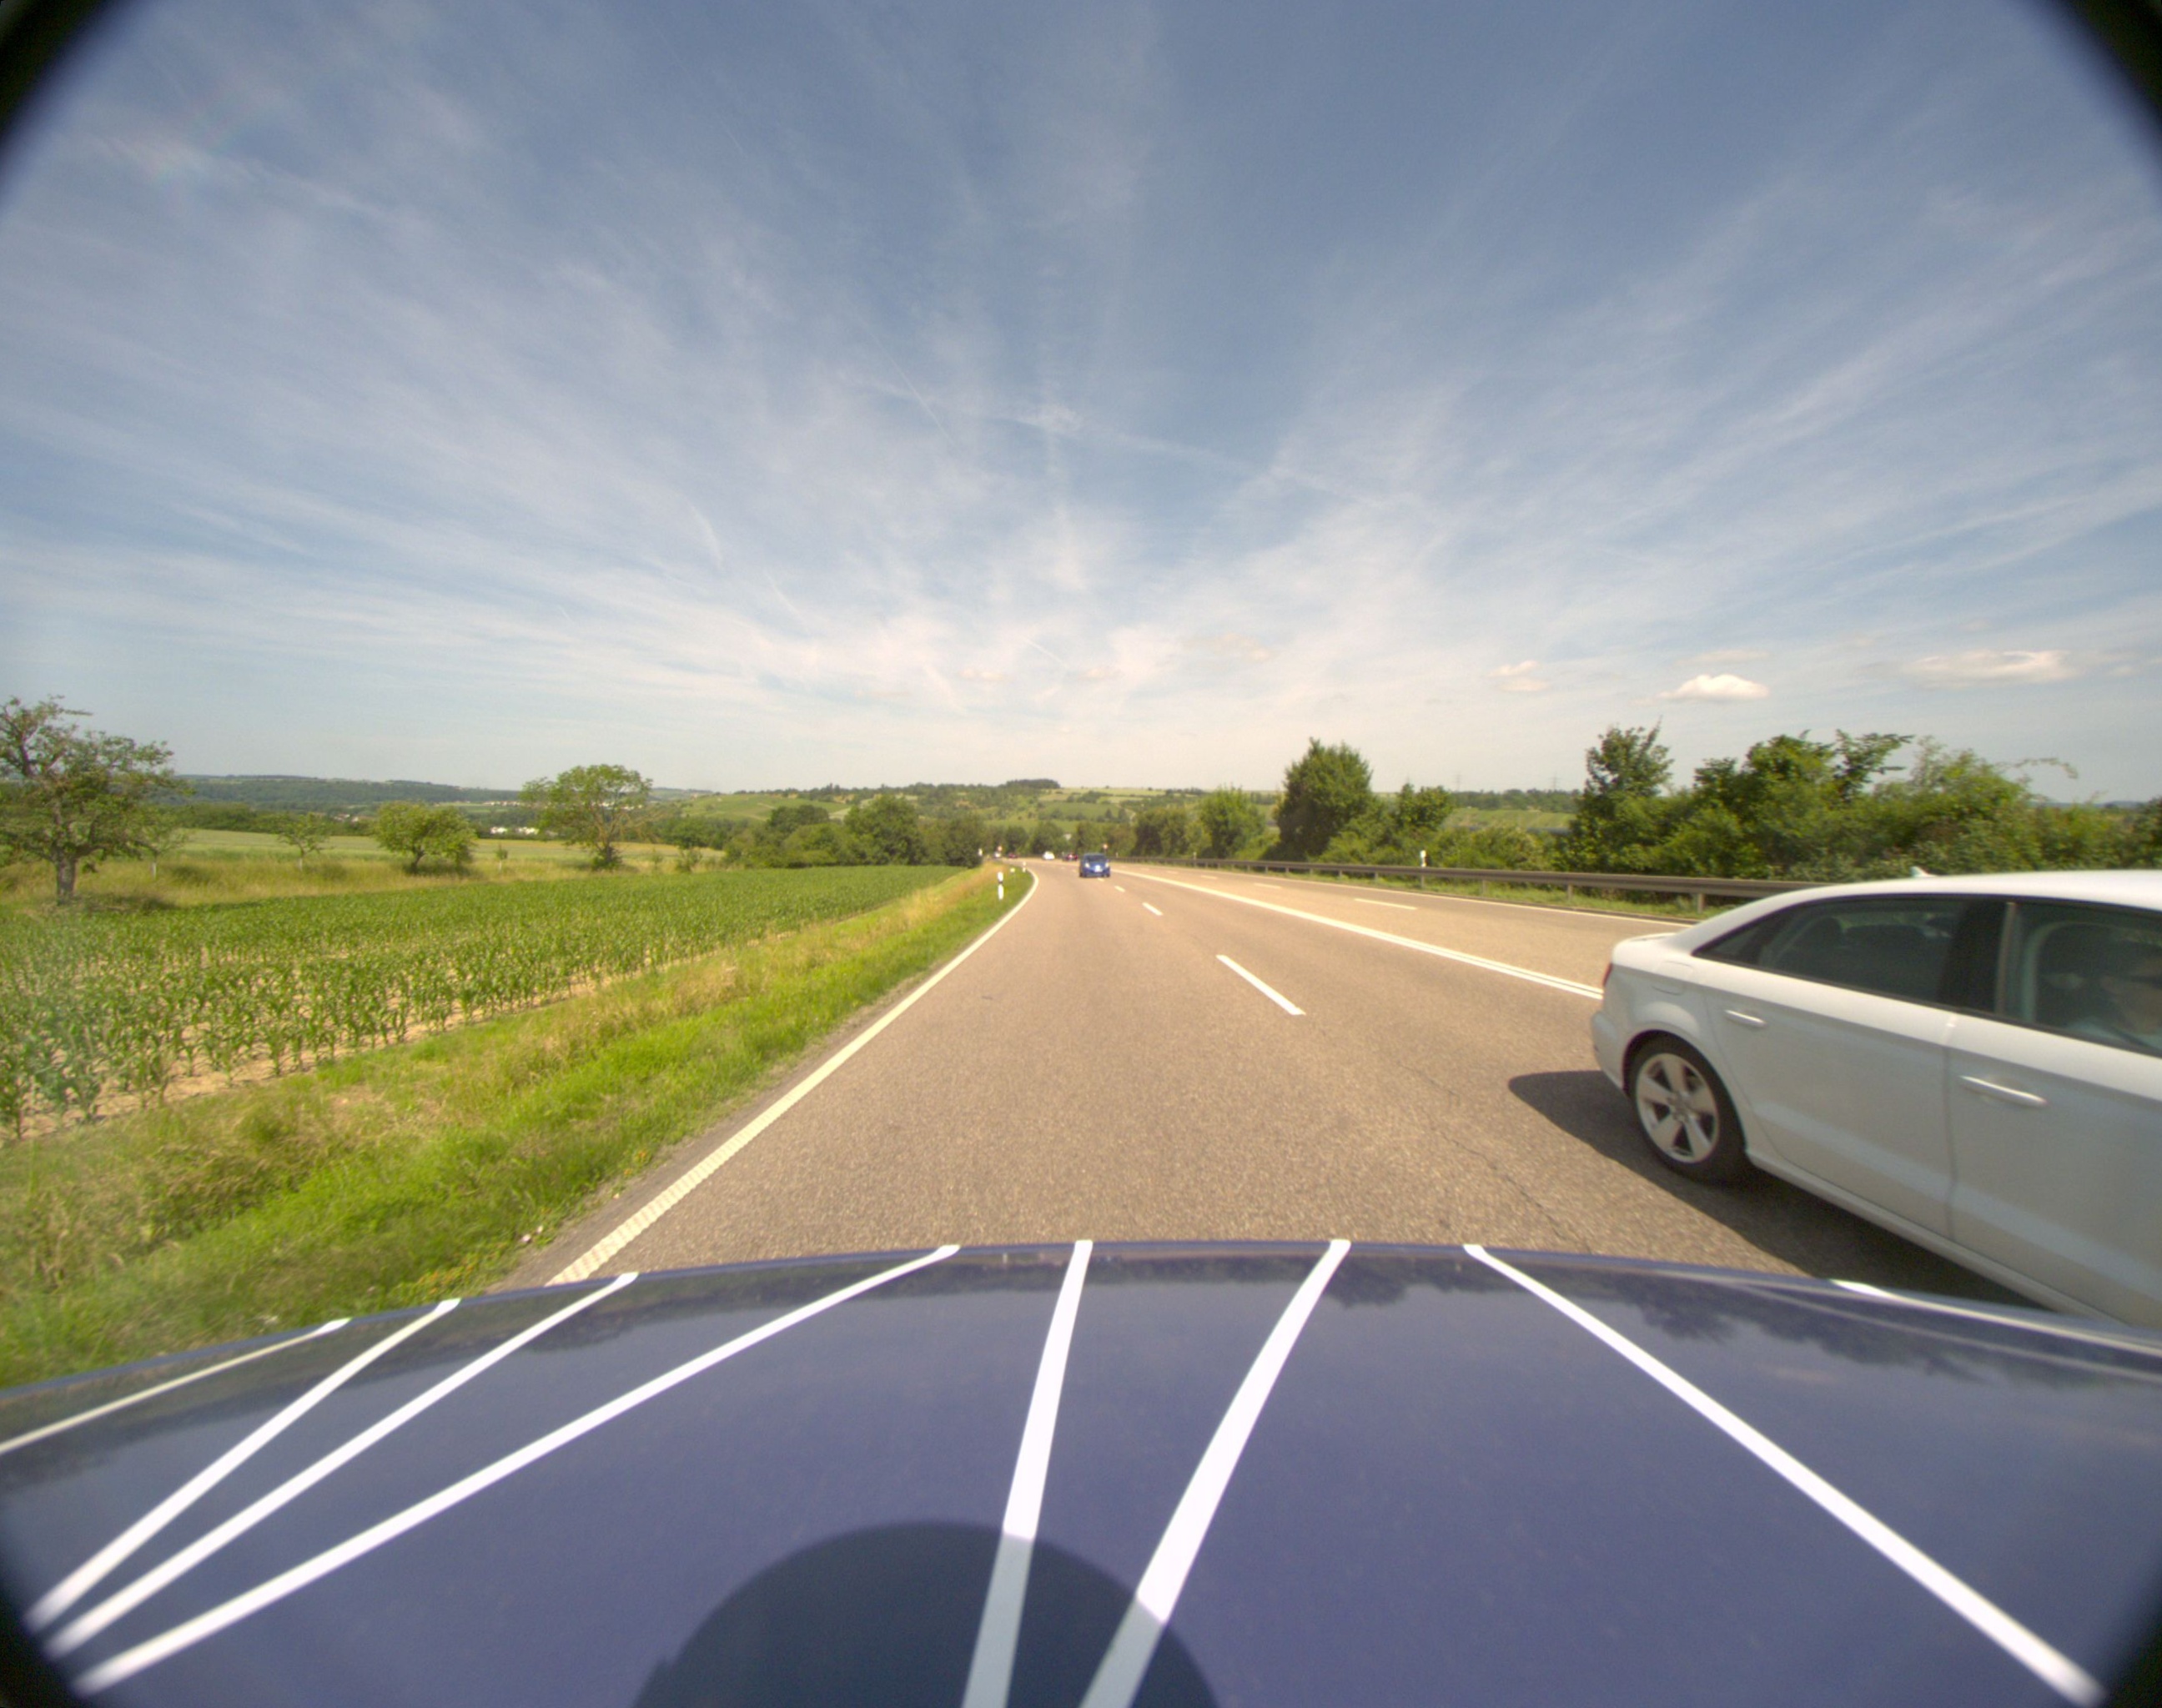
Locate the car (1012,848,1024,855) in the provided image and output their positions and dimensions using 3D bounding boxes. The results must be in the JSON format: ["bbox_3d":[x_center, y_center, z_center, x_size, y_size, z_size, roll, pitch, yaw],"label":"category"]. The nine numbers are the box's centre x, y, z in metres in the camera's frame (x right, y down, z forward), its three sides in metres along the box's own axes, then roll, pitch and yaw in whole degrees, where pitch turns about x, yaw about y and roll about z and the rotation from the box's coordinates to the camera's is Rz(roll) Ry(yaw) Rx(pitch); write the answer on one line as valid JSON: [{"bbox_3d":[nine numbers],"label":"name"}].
[{"bbox_3d":[-14.689,-0.614,176.642,1.725,1.453,4.208,-1,1,-17],"label":"car"}]

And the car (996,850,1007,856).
[{"bbox_3d":[-20.183,-0.322,193.078,1.820,1.559,4.676,-1,1,-19],"label":"car"}]

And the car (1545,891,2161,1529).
[{"bbox_3d":[3.446,0.923,1.993,1.707,1.368,4.603,-1,0,1],"label":"car"}]

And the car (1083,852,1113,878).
[{"bbox_3d":[1.059,0.649,48.411,1.636,1.522,3.914,-2,1,-2],"label":"car"}]

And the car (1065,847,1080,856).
[{"bbox_3d":[-1.471,-0.468,129.264,1.843,1.447,4.321,0,1,-11],"label":"car"}]

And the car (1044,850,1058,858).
[{"bbox_3d":[-5.793,0.013,146.620,1.664,1.449,3.728,-1,1,-17],"label":"car"}]
